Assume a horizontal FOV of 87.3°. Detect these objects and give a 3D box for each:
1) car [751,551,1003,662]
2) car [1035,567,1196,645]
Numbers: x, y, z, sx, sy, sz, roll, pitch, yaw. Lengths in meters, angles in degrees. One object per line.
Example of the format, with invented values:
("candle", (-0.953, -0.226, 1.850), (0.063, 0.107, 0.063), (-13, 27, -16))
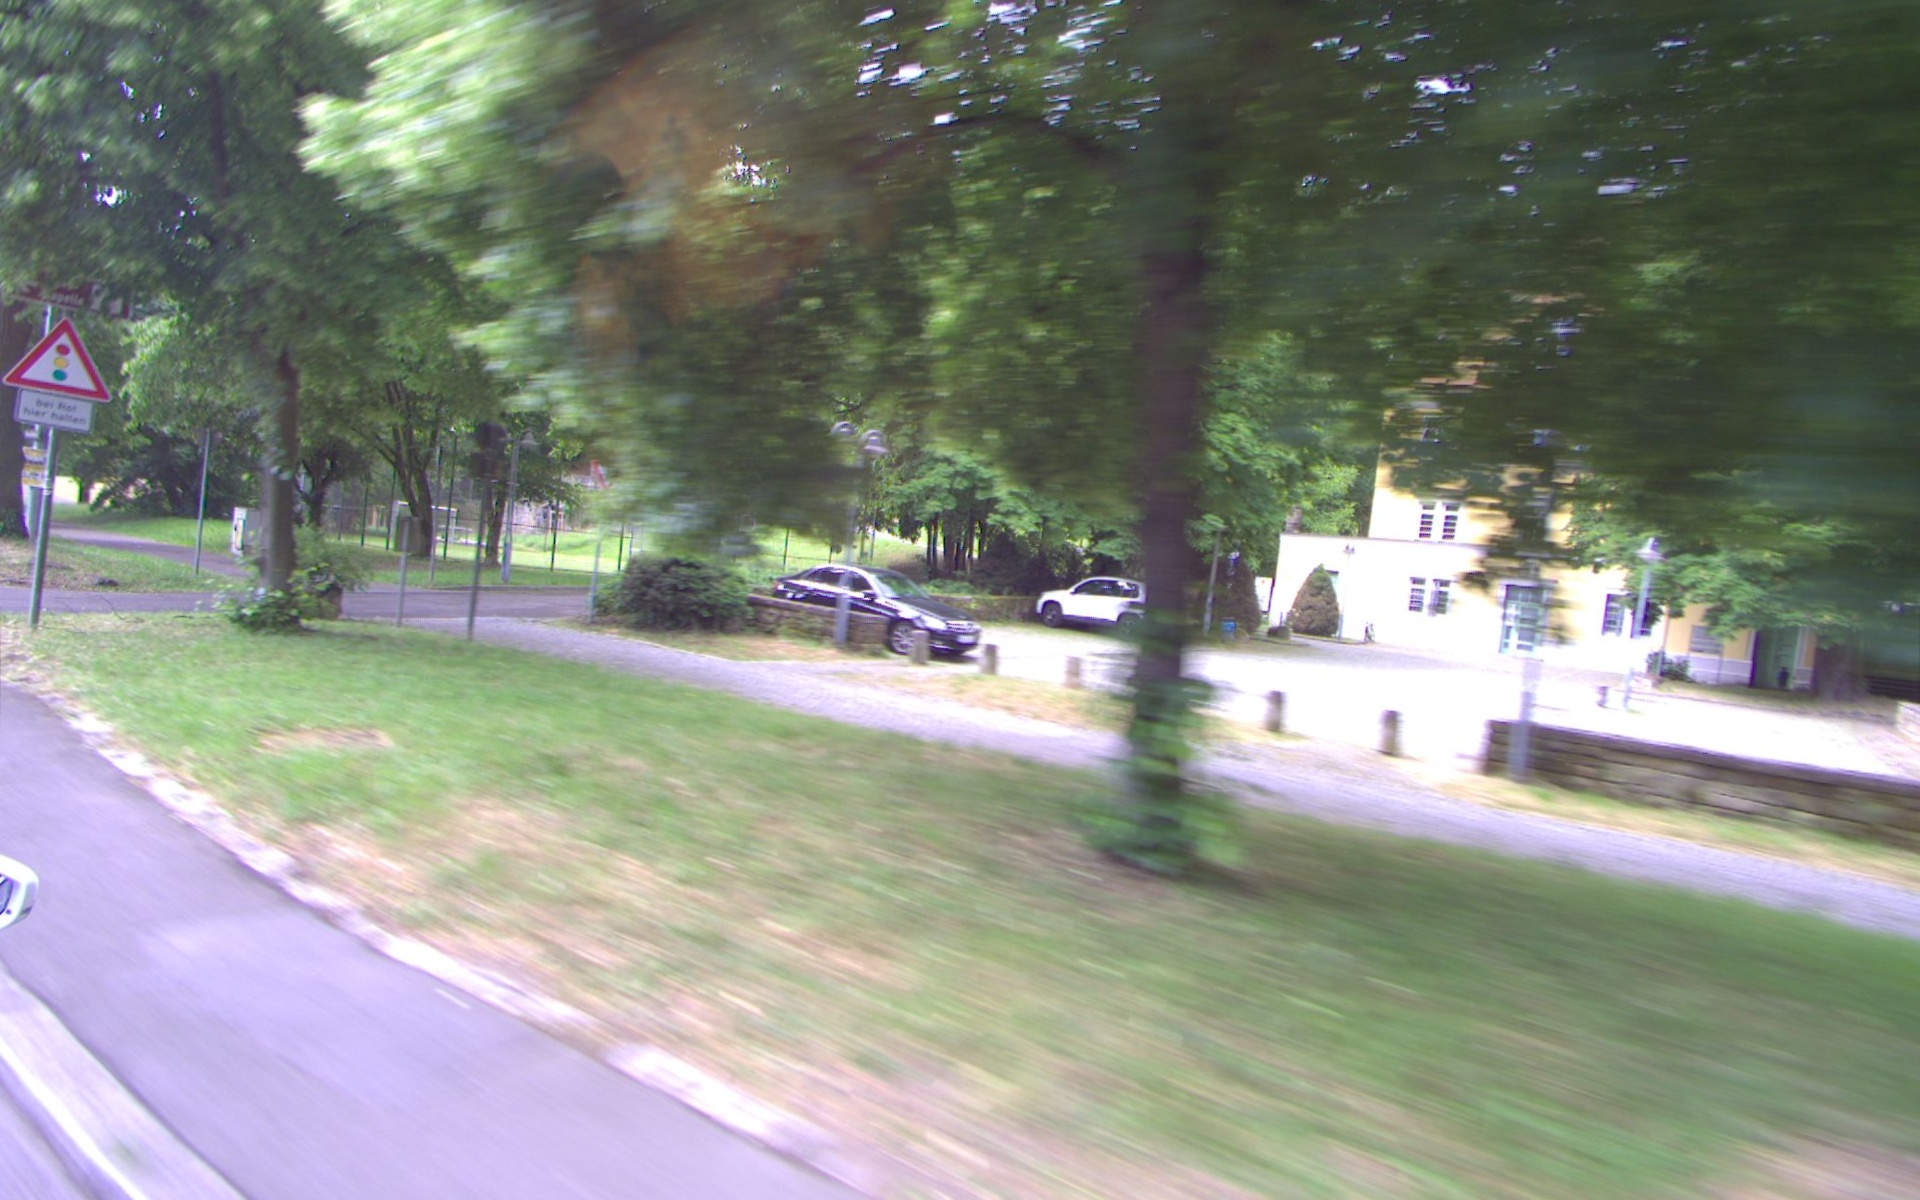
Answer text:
("car", (-1.625, 0.069, 19.089), (4.391, 1.451, 1.906), (9, 4, 31))
("car", (4.381, 0.110, 28.616), (3.940, 1.675, 1.988), (9, 7, 39))
